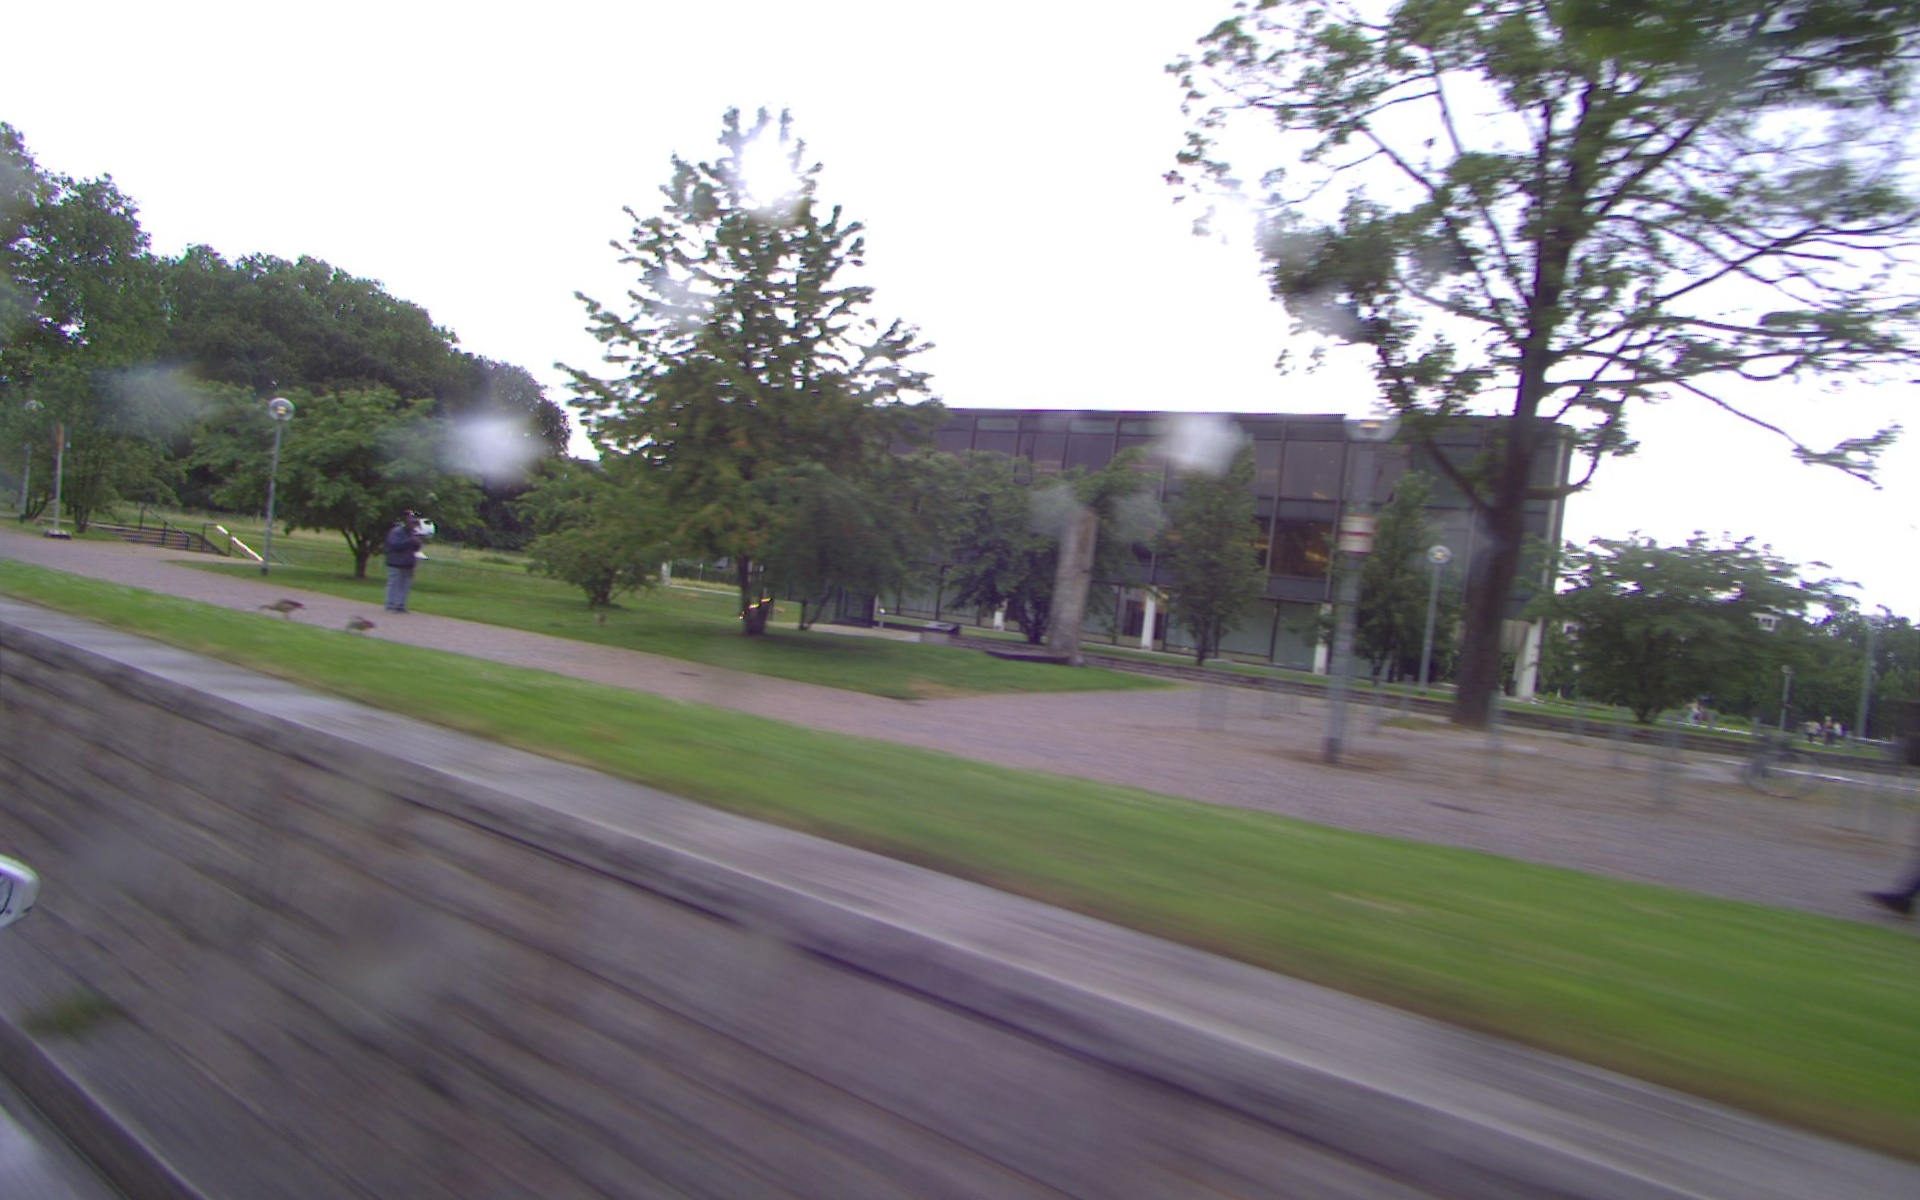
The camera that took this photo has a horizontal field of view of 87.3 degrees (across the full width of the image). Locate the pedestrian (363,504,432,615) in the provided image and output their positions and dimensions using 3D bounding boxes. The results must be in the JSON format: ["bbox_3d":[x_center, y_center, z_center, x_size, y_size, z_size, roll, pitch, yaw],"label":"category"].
[{"bbox_3d":[-9.566,-0.679,17.108,0.713,1.778,0.595,8,2,28],"label":"pedestrian"}]

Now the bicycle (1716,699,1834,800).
[{"bbox_3d":[10.760,1.937,13.343,0.696,1.099,1.645,8,0,24],"label":"bicycle"}]

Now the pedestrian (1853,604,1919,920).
[{"bbox_3d":[5.718,0.932,5.695,0.681,1.740,0.706,8,2,30],"label":"pedestrian"}]
